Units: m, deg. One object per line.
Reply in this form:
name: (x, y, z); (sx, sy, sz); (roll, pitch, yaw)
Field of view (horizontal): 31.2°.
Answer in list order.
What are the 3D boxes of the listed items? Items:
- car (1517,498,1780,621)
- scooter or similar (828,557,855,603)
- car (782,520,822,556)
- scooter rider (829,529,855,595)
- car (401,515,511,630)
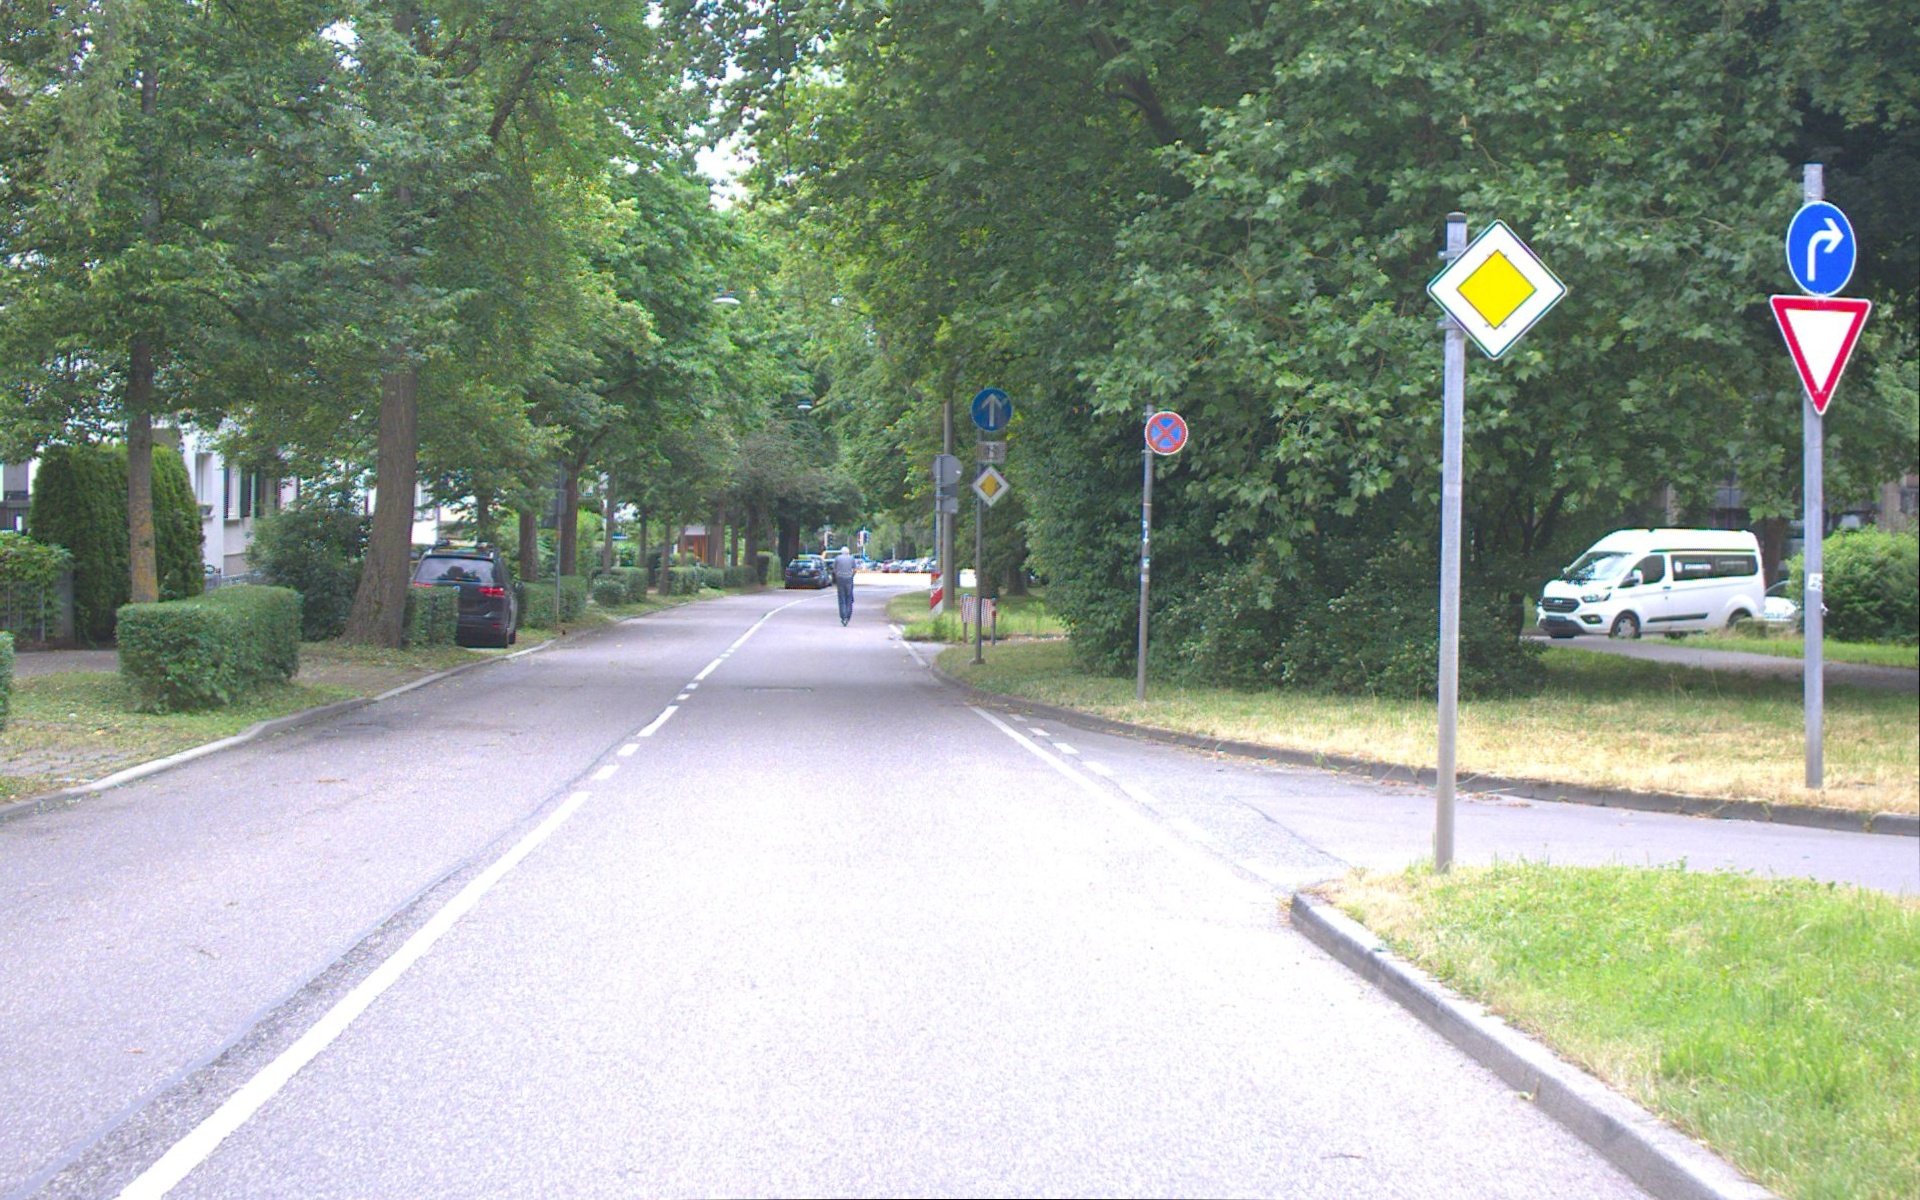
car: (14.242, -0.821, 70.957); (5.369, 2.289, 2.137); (1, 4, -37)
scooter or similar: (-2.813, -0.468, 81.761); (0.600, 1.051, 0.873); (0, 3, 0)
car: (-7.685, -3.004, 167.362); (1.834, 1.493, 3.657); (3, 3, -3)
scooter rider: (-2.814, -0.911, 81.886); (0.600, 1.547, 0.566); (0, 3, 0)
car: (-8.719, -0.513, 59.639); (1.642, 1.718, 3.801); (3, 3, -6)
